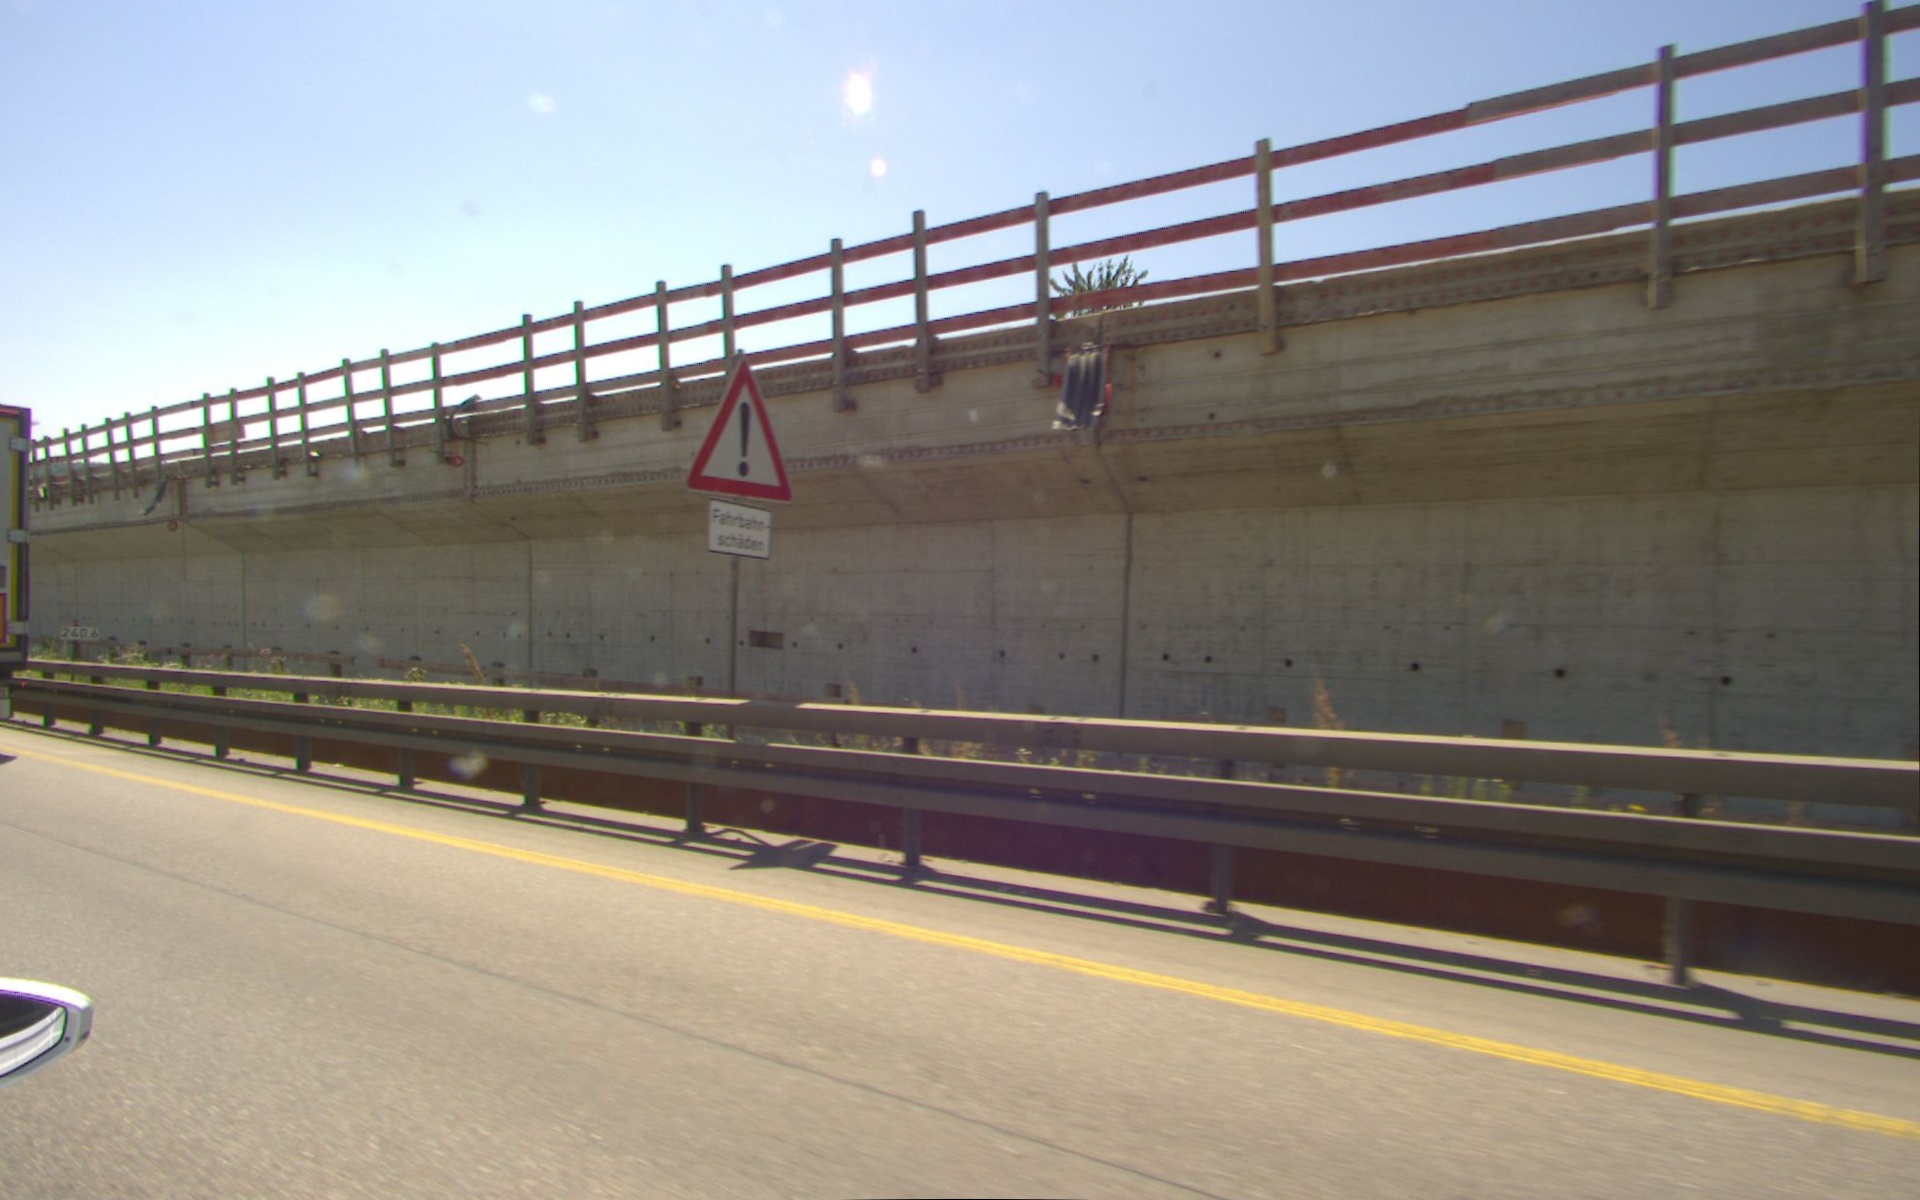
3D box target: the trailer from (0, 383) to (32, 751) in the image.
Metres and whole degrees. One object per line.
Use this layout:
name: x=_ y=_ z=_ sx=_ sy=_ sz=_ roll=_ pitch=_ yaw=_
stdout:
trailer: x=-16.207 y=-0.286 z=13.602 sx=11.385 sy=4.179 sz=2.527 roll=-1 pitch=-2 yaw=33
